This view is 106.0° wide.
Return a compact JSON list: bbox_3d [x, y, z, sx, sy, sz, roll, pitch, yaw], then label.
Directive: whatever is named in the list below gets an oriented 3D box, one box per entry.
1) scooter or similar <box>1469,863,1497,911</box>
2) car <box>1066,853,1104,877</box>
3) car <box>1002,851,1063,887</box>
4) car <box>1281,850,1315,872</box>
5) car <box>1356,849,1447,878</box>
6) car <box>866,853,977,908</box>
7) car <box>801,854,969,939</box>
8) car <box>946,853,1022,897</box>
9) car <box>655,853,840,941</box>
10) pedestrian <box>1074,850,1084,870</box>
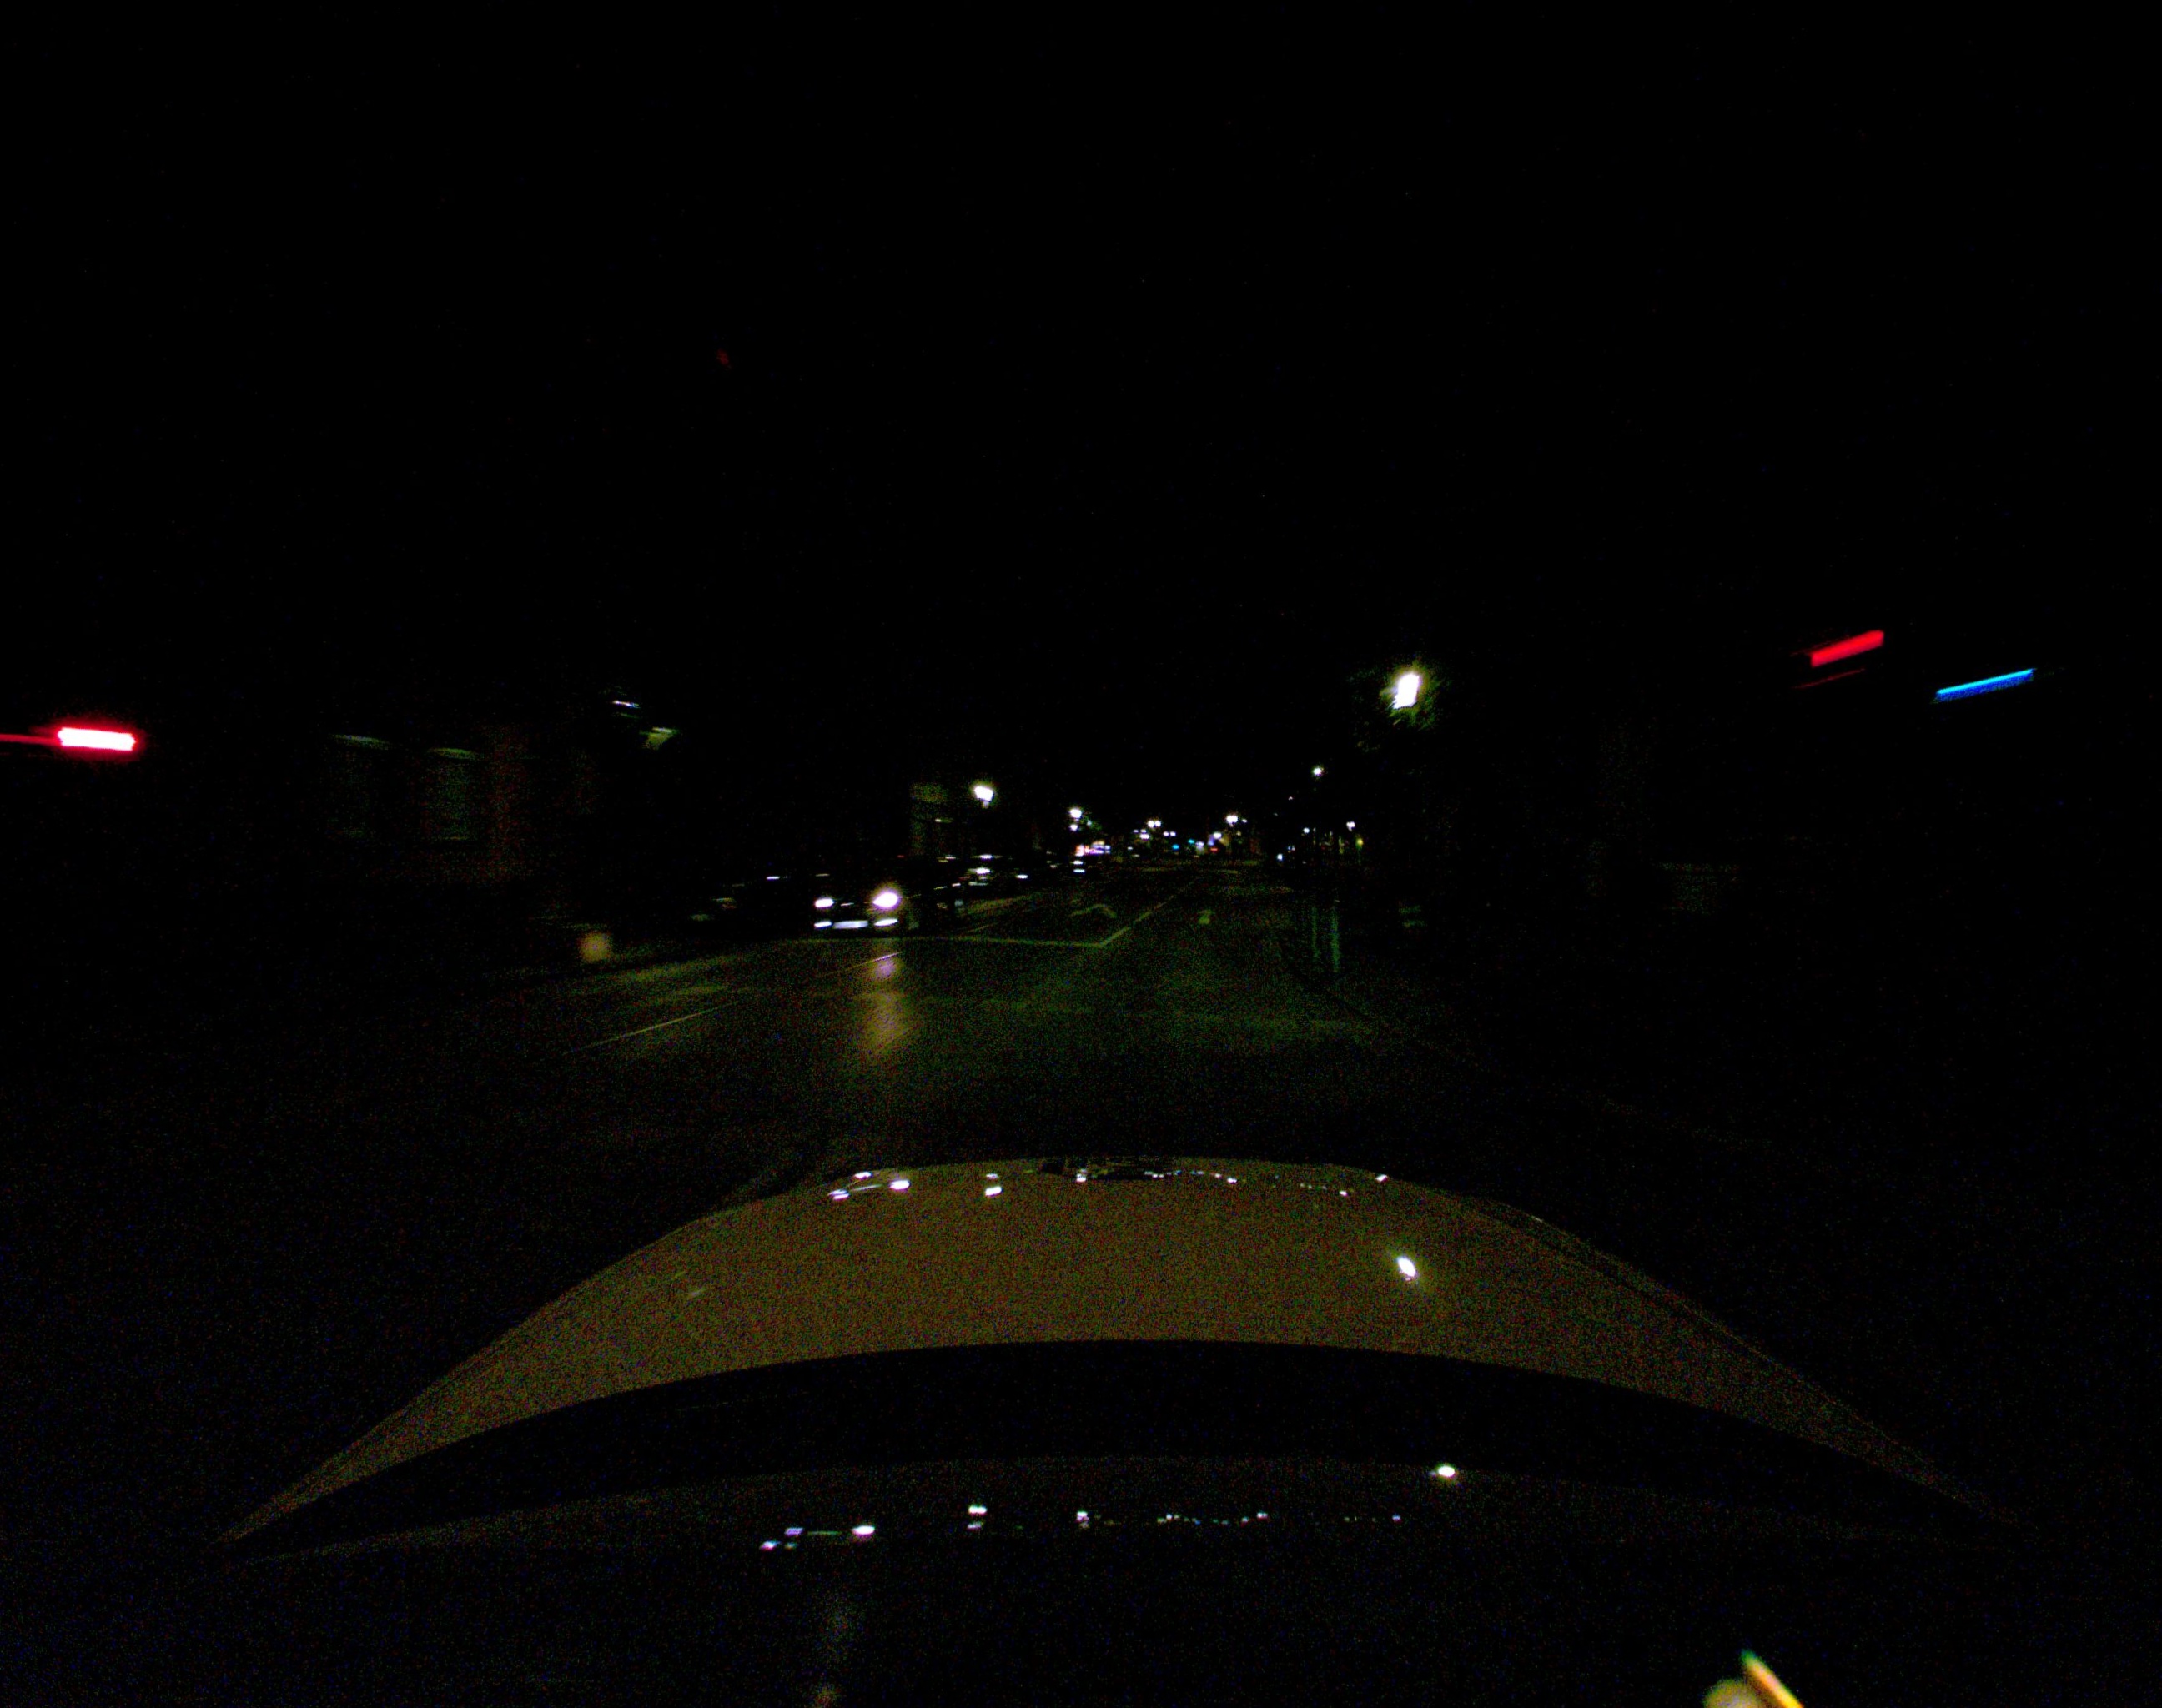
[{"bbox_3d":[10.230,0.822,20.739,0.418,1.130,1.500,-1,0,18],"label":"scooter or similar"},{"bbox_3d":[0.305,0.688,51.695,1.774,1.415,4.137,1,1,9],"label":"car"},{"bbox_3d":[-2.268,0.669,39.209,1.773,1.582,4.426,2,1,12],"label":"car"},{"bbox_3d":[15.379,0.485,57.867,1.724,1.459,4.737,0,0,7],"label":"car"},{"bbox_3d":[17.281,0.509,44.117,4.393,1.459,1.797,-1,1,16],"label":"car"},{"bbox_3d":[-4.906,0.753,25.705,1.772,1.491,4.344,2,1,13],"label":"car"},{"bbox_3d":[-3.753,0.759,16.394,1.704,1.429,4.012,-2,0,11],"label":"car"},{"bbox_3d":[-3.634,0.749,31.241,1.774,1.491,4.011,2,1,9],"label":"car"},{"bbox_3d":[-6.734,0.791,16.886,1.581,1.491,3.715,2,2,15],"label":"car"},{"bbox_3d":[-0.178,0.576,77.521,0.729,1.822,0.685,2,-1,-36],"label":"pedestrian"}]
